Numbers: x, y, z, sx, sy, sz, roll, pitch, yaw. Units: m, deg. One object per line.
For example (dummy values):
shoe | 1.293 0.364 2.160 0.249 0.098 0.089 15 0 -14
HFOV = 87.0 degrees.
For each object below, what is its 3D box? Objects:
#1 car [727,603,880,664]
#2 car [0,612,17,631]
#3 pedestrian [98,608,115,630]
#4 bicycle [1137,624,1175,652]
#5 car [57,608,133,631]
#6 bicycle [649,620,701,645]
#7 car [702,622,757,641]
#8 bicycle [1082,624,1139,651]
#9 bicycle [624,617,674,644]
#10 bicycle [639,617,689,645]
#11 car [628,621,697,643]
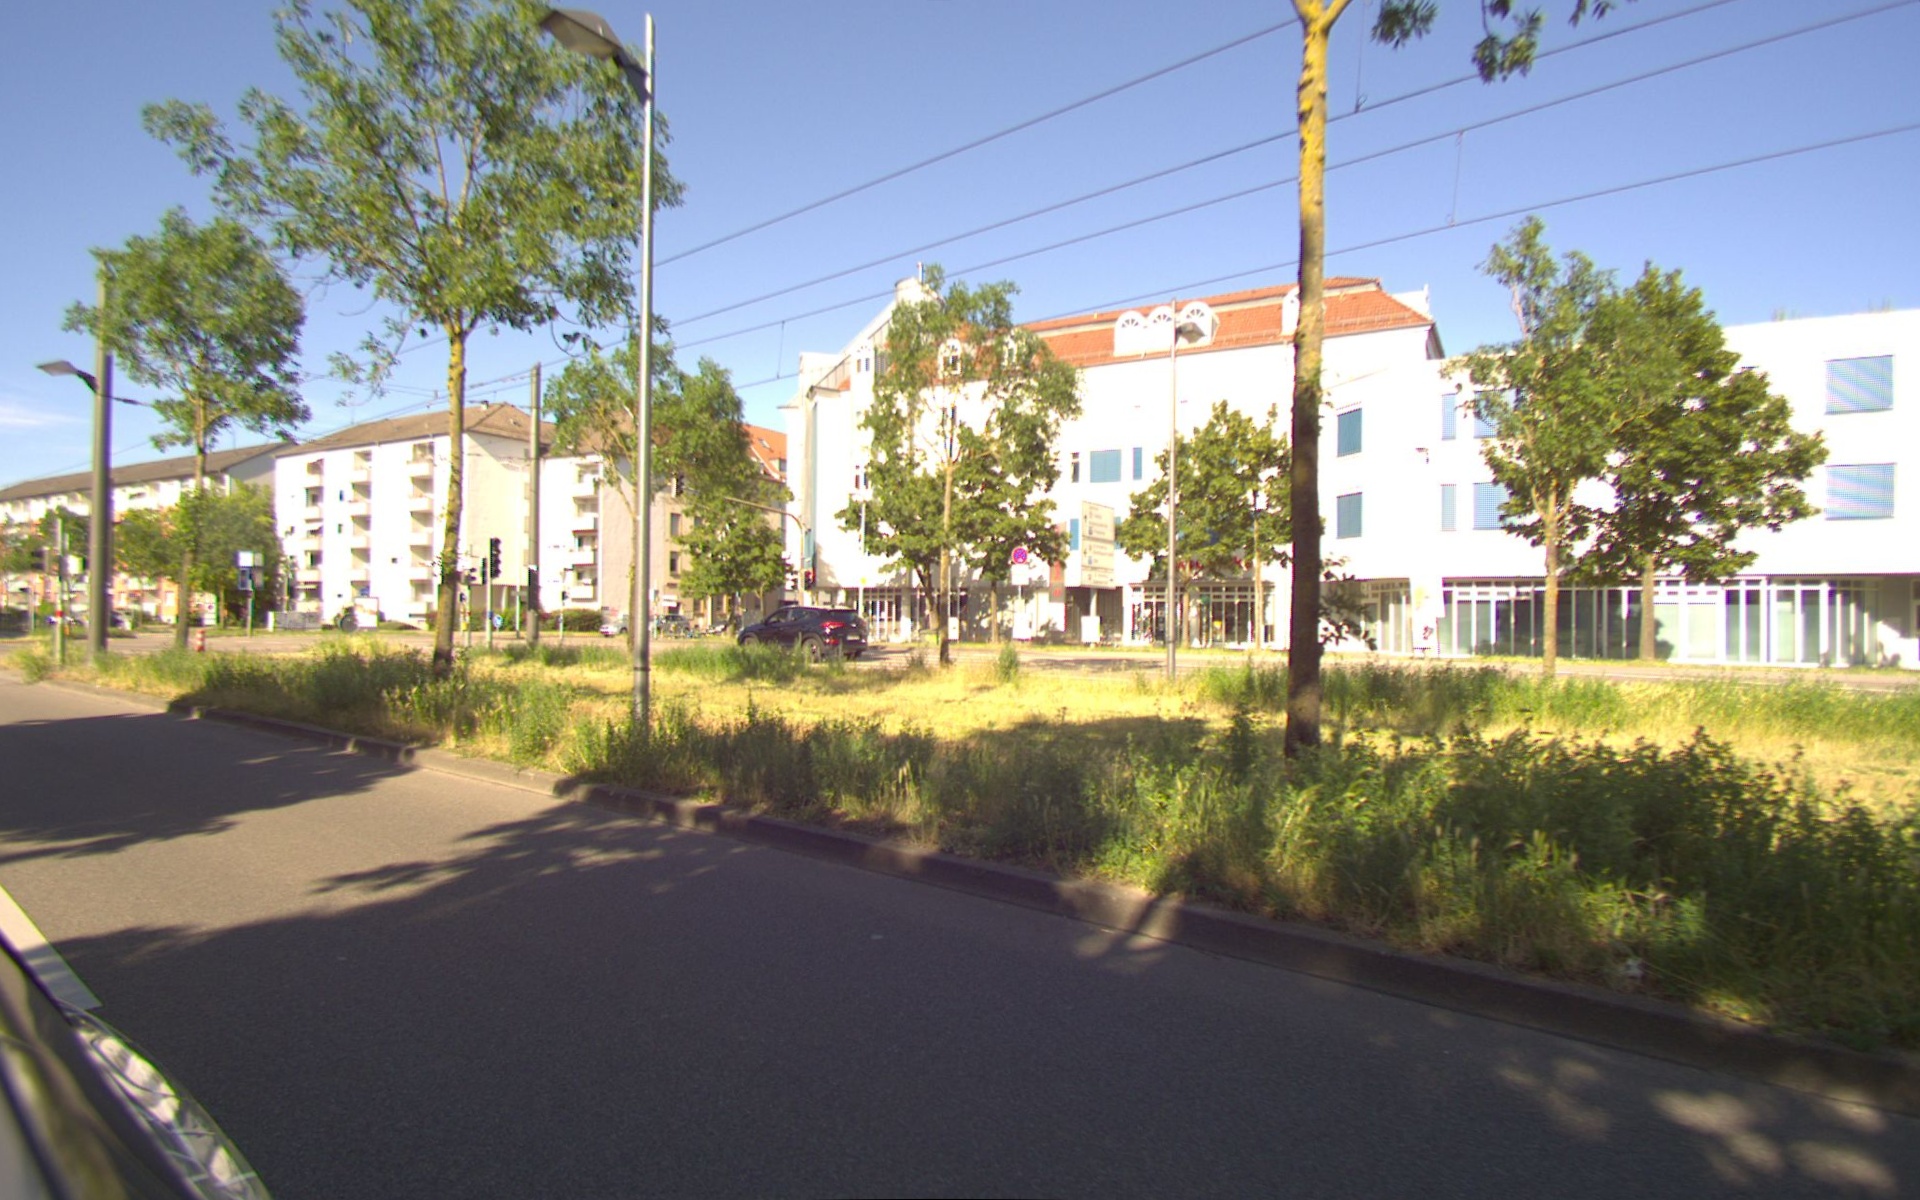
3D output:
car | -4.631 0.951 29.649 4.481 1.653 1.803 -1 -2 37
car | -89.340 1.962 93.793 4.224 1.723 1.677 -1 -2 30
pedestrian | -65.333 1.461 77.501 0.701 1.724 0.778 -1 -2 30
bicycle | 8.856 1.708 45.640 0.718 1.222 2.522 -1 -2 35
car | -66.627 1.487 78.013 4.168 1.723 1.699 1 -2 -29
bicycle | -13.919 1.589 49.541 0.781 1.168 2.550 -1 -2 34
car | -17.035 2.314 74.916 1.695 1.320 4.049 -1 -2 28
bicycle | 6.797 1.685 45.837 2.547 1.222 0.711 -1 -2 36
bicycle | -15.573 1.534 50.799 0.661 1.319 2.550 -1 -2 34
bicycle | -14.661 1.525 50.151 0.661 1.319 2.550 -1 -2 34
car | -20.303 2.170 69.301 2.324 1.476 4.148 -1 -2 28
